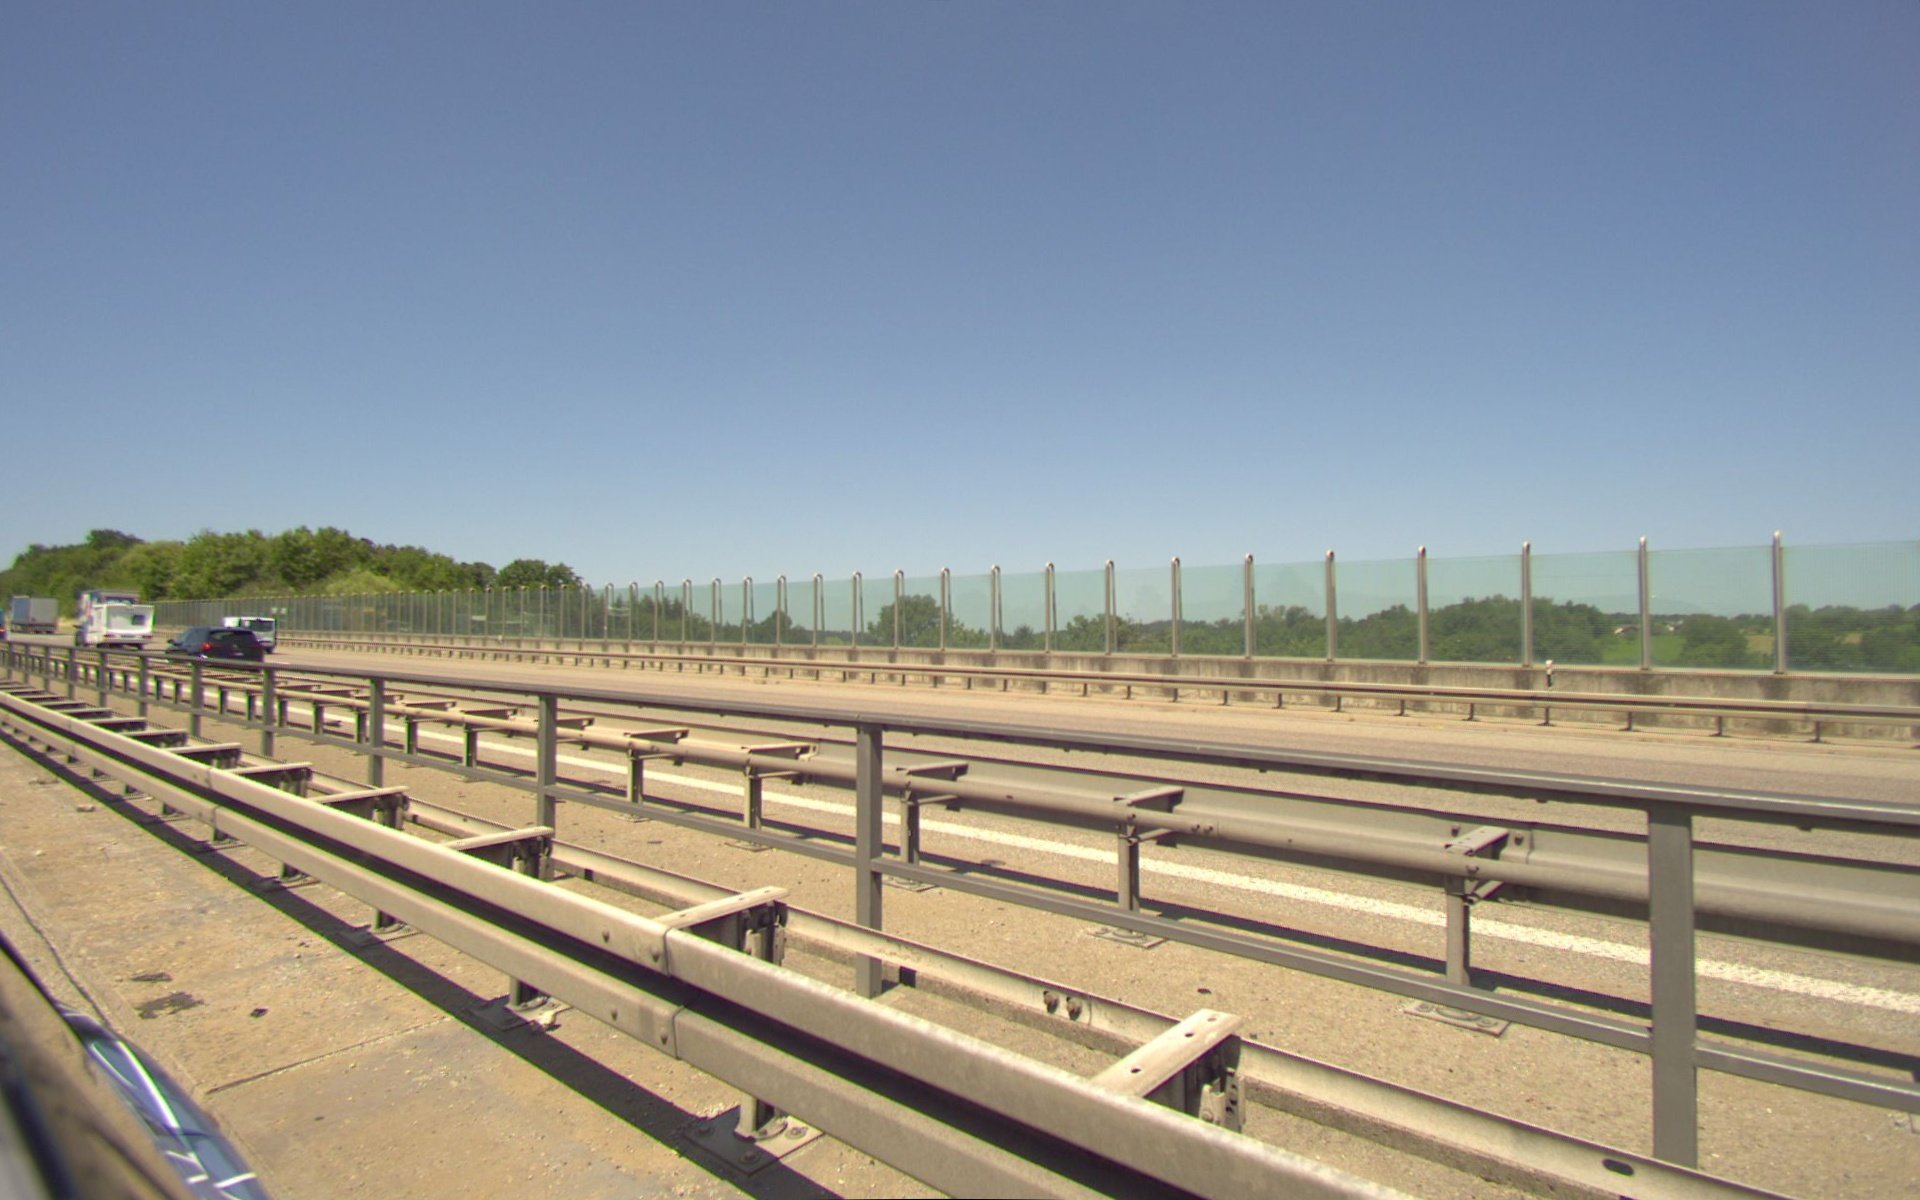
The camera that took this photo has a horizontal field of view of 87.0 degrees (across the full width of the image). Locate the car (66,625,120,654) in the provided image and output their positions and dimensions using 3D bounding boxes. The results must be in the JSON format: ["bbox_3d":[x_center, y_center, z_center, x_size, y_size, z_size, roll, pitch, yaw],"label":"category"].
[{"bbox_3d":[-51.665,2.344,60.296,4.265,1.654,1.783,-1,-4,41],"label":"car"}]

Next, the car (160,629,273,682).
[{"bbox_3d":[-21.773,1.584,29.593,4.264,1.430,1.749,-1,-3,41],"label":"car"}]

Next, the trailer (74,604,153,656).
[{"bbox_3d":[-47.602,1.709,56.850,6.357,2.727,2.292,-1,-4,41],"label":"trailer"}]

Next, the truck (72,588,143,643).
[{"bbox_3d":[-68.906,1.302,81.681,9.986,4.117,2.839,-1,-4,42],"label":"truck"}]

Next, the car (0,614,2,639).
[{"bbox_3d":[-102.173,2.718,106.127,5.034,2.610,1.961,-1,-3,41],"label":"car"}]

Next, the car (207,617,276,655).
[{"bbox_3d":[-39.490,1.973,55.599,4.487,1.999,2.013,-1,-4,41],"label":"car"}]

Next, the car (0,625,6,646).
[{"bbox_3d":[-67.760,2.423,70.216,3.998,1.405,1.829,-1,-4,41],"label":"car"}]

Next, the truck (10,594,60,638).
[{"bbox_3d":[-101.232,1.743,110.680,9.986,4.575,2.839,-1,-4,42],"label":"truck"}]
